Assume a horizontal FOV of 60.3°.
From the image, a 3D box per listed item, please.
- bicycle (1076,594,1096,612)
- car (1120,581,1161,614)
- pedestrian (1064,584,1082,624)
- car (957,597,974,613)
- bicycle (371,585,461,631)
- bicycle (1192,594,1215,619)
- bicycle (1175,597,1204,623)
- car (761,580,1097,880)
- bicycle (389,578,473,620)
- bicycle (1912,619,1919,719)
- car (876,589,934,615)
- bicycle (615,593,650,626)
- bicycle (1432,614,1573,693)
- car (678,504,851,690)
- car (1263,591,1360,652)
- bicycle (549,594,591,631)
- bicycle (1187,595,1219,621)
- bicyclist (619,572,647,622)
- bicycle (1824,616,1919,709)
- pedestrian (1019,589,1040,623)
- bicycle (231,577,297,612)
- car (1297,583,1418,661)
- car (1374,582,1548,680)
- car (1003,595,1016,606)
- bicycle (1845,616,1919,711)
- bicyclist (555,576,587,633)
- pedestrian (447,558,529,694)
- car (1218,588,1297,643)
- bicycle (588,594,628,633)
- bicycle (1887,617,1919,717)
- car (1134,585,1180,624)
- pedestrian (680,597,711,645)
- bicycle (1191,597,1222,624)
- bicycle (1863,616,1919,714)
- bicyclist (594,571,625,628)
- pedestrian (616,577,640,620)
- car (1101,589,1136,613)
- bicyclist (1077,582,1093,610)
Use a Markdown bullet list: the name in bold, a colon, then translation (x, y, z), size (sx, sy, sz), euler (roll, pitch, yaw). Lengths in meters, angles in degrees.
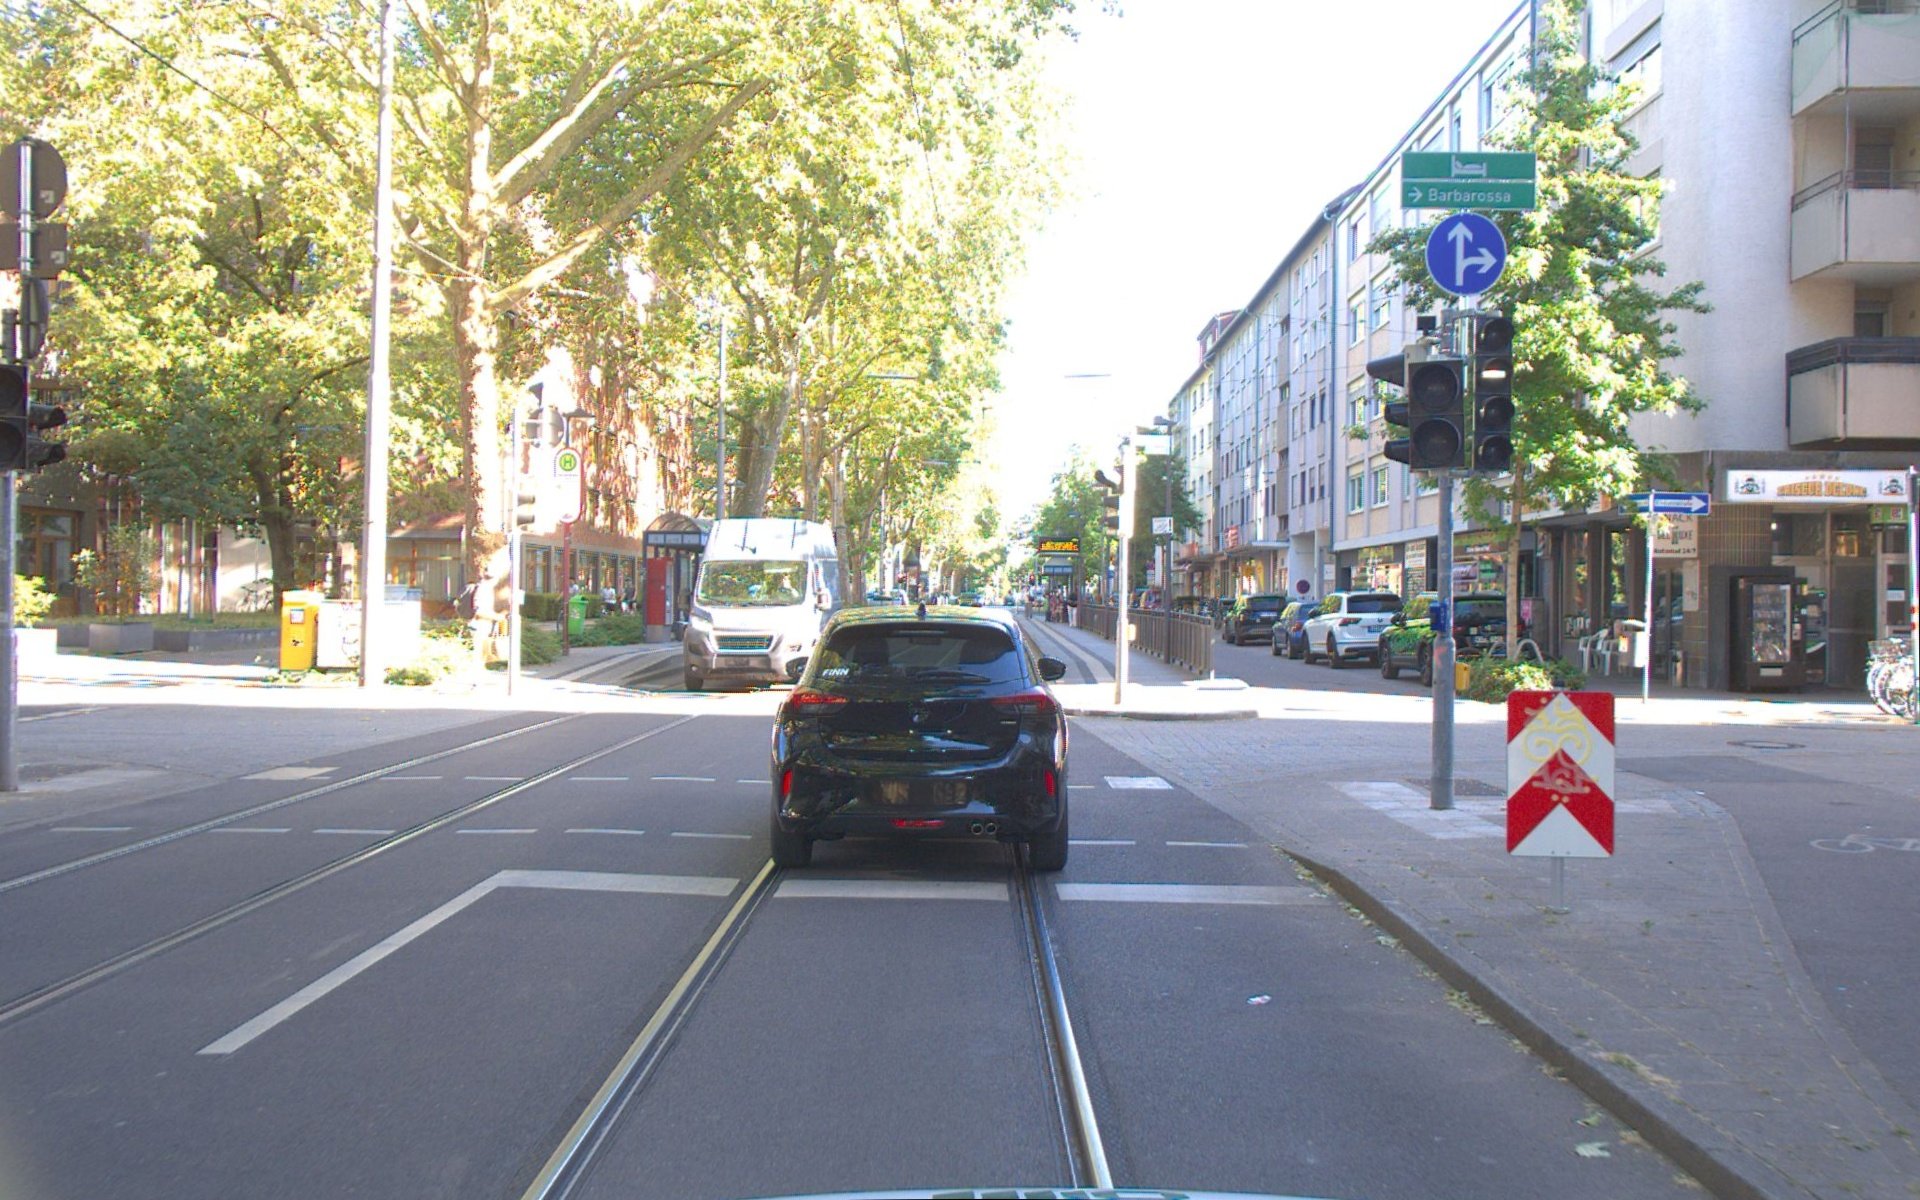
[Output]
- **bicycle**: translation (8.149, 0.200, 107.065), size (0.844, 1.156, 2.393), euler (2, 0, -5)
- **car**: translation (10.288, -0.126, 94.475), size (1.952, 1.829, 4.000), euler (2, 0, 1)
- **pedestrian**: translation (4.623, 0.149, 67.586), size (0.618, 1.603, 0.871), euler (3, 0, 1)
- **car**: translation (0.545, 0.526, 170.156), size (1.710, 1.571, 3.999), euler (2, 0, 0)
- **bicycle**: translation (-16.256, 0.237, 49.471), size (2.407, 1.240, 0.682), euler (3, 0, 2)
- **bicycle**: translation (11.619, 0.297, 79.028), size (0.402, 1.156, 2.199), euler (2, 0, -10)
- **bicycle**: translation (10.518, 0.443, 75.723), size (0.591, 1.156, 2.429), euler (2, 0, -10)
- **car**: translation (-0.180, 0.678, 10.350), size (1.724, 1.534, 3.682), euler (0, 0, -1)
- **bicycle**: translation (-16.114, -0.017, 50.415), size (2.292, 1.186, 0.682), euler (2, 0, 2)
- **bicycle**: translation (12.794, 0.856, 20.360), size (1.875, 1.228, 0.511), euler (0, 1, -3)
- **car**: translation (-3.920, 0.166, 117.767), size (4.034, 1.730, 1.881), euler (2, 0, -6)
- **bicycle**: translation (-11.740, 0.332, 59.387), size (0.766, 1.130, 2.595), euler (2, 0, -1)
- **bicycle**: translation (8.851, 0.860, 27.058), size (2.081, 1.208, 0.681), euler (2, -1, 9)
- **car**: translation (-3.133, -0.030, 27.860), size (2.070, 2.786, 6.115), euler (0, 0, 1)
- **car**: translation (9.111, 0.549, 43.137), size (1.708, 1.465, 4.247), euler (2, 0, 1)
- **bicycle**: translation (-12.515, 0.386, 53.142), size (0.766, 1.130, 2.595), euler (2, 0, -1)
- **bicycle**: translation (11.347, 0.365, 77.257), size (0.600, 1.156, 2.915), euler (2, 0, -10)
- **bicyclist**: translation (-11.733, -0.111, 59.361), size (0.759, 1.780, 0.997), euler (2, -1, -1)
- **bicycle**: translation (12.836, 0.854, 22.533), size (1.876, 1.229, 0.511), euler (2, -1, -3)
- **pedestrian**: translation (3.639, 0.319, 86.651), size (0.737, 1.739, 0.760), euler (1, -1, 36)
- **bicycle**: translation (-23.347, -0.175, 55.503), size (1.908, 1.092, 0.762), euler (2, -1, -15)
- **car**: translation (8.961, 0.481, 37.603), size (1.762, 1.634, 4.415), euler (2, 0, 1)
- **car**: translation (9.118, 0.542, 30.498), size (1.952, 1.644, 4.446), euler (1, 0, 1)
- **car**: translation (7.014, 0.064, 235.715), size (1.710, 1.571, 3.999), euler (2, 0, 0)
- **bicycle**: translation (12.814, 0.835, 21.975), size (1.875, 1.229, 0.511), euler (0, 0, -3)
- **bicyclist**: translation (-12.506, 0.138, 53.227), size (0.759, 1.780, 0.997), euler (2, -1, -1)
- **pedestrian**: translation (-6.768, 0.358, 23.765), size (0.905, 1.867, 0.920), euler (2, 2, -3)
- **car**: translation (9.594, 0.493, 53.601), size (1.819, 1.644, 4.398), euler (2, 0, 1)
- **bicycle**: translation (-11.308, 0.434, 53.262), size (0.766, 1.212, 2.595), euler (2, 0, -1)
- **bicycle**: translation (12.770, 0.839, 20.885), size (1.875, 1.228, 0.511), euler (0, 1, -3)
- **car**: translation (10.459, 0.254, 87.909), size (1.952, 1.986, 4.000), euler (2, 0, 1)
- **pedestrian**: translation (-6.668, 0.527, 41.710), size (0.691, 1.189, 0.659), euler (0, 0, -2)
- **bicycle**: translation (10.930, 0.439, 73.285), size (0.610, 1.156, 2.434), euler (2, 0, -10)
- **bicycle**: translation (12.758, 0.838, 21.420), size (1.875, 1.229, 0.511), euler (0, 0, -3)
- **bicyclist**: translation (-11.279, -0.008, 53.182), size (0.766, 1.794, 0.951), euler (2, -1, -2)
- **pedestrian**: translation (-13.293, -0.051, 66.259), size (0.720, 1.701, 0.861), euler (1, -1, 1)
- **car**: translation (10.211, 0.079, 106.805), size (1.952, 1.512, 4.001), euler (2, 0, 1)
- **bicyclist**: translation (8.113, -0.276, 107.717), size (0.844, 1.790, 1.052), euler (2, -1, -5)
